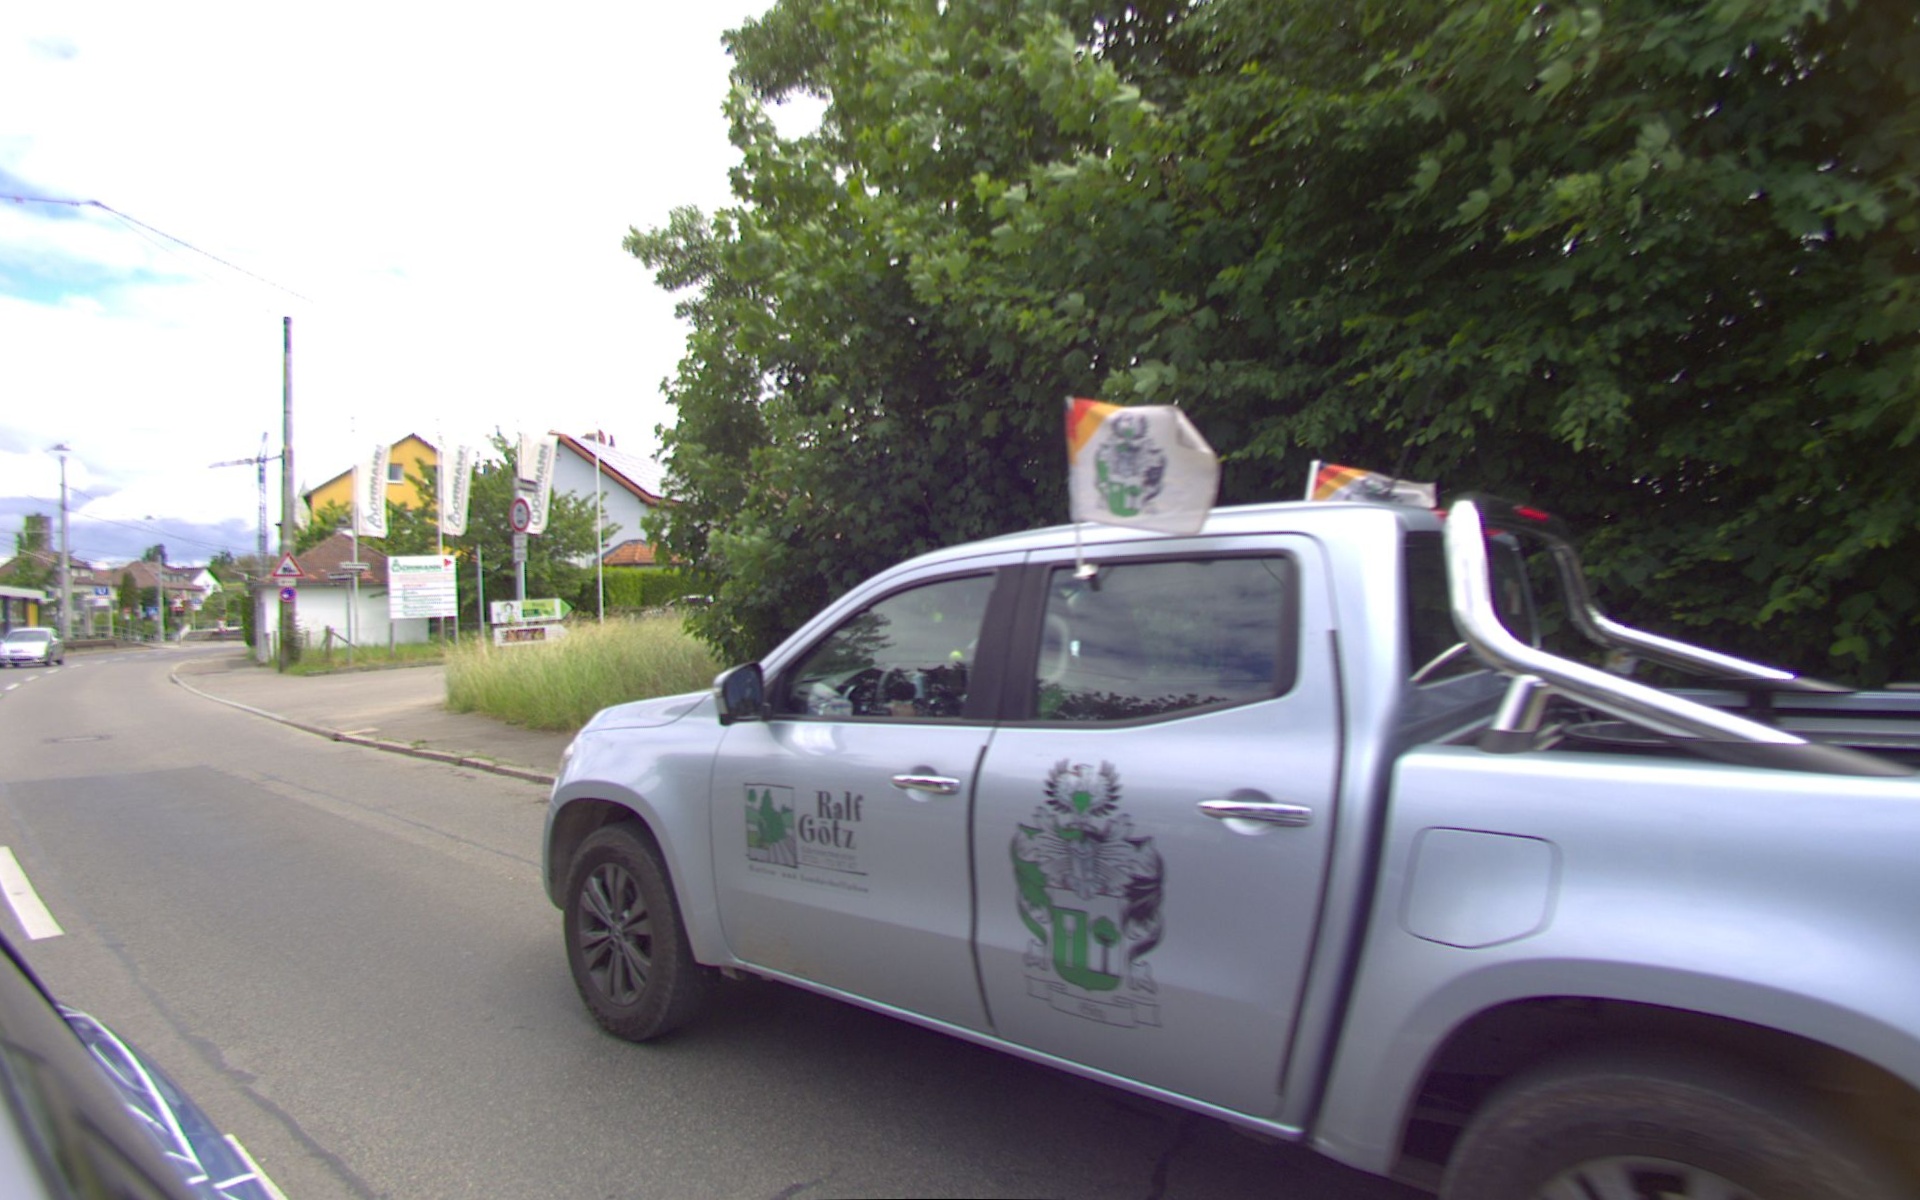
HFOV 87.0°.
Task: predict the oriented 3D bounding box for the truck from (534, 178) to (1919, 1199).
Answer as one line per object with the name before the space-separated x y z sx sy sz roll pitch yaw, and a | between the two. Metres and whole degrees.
truck | 0.902 0.447 2.864 4.954 1.981 1.829 -1 -1 40

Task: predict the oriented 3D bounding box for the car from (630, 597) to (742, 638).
car | -11.125 0.705 41.139 3.965 1.545 1.989 -1 0 17

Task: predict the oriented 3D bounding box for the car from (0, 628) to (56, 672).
car | -38.742 2.044 41.795 1.707 1.661 4.235 -2 0 -37
